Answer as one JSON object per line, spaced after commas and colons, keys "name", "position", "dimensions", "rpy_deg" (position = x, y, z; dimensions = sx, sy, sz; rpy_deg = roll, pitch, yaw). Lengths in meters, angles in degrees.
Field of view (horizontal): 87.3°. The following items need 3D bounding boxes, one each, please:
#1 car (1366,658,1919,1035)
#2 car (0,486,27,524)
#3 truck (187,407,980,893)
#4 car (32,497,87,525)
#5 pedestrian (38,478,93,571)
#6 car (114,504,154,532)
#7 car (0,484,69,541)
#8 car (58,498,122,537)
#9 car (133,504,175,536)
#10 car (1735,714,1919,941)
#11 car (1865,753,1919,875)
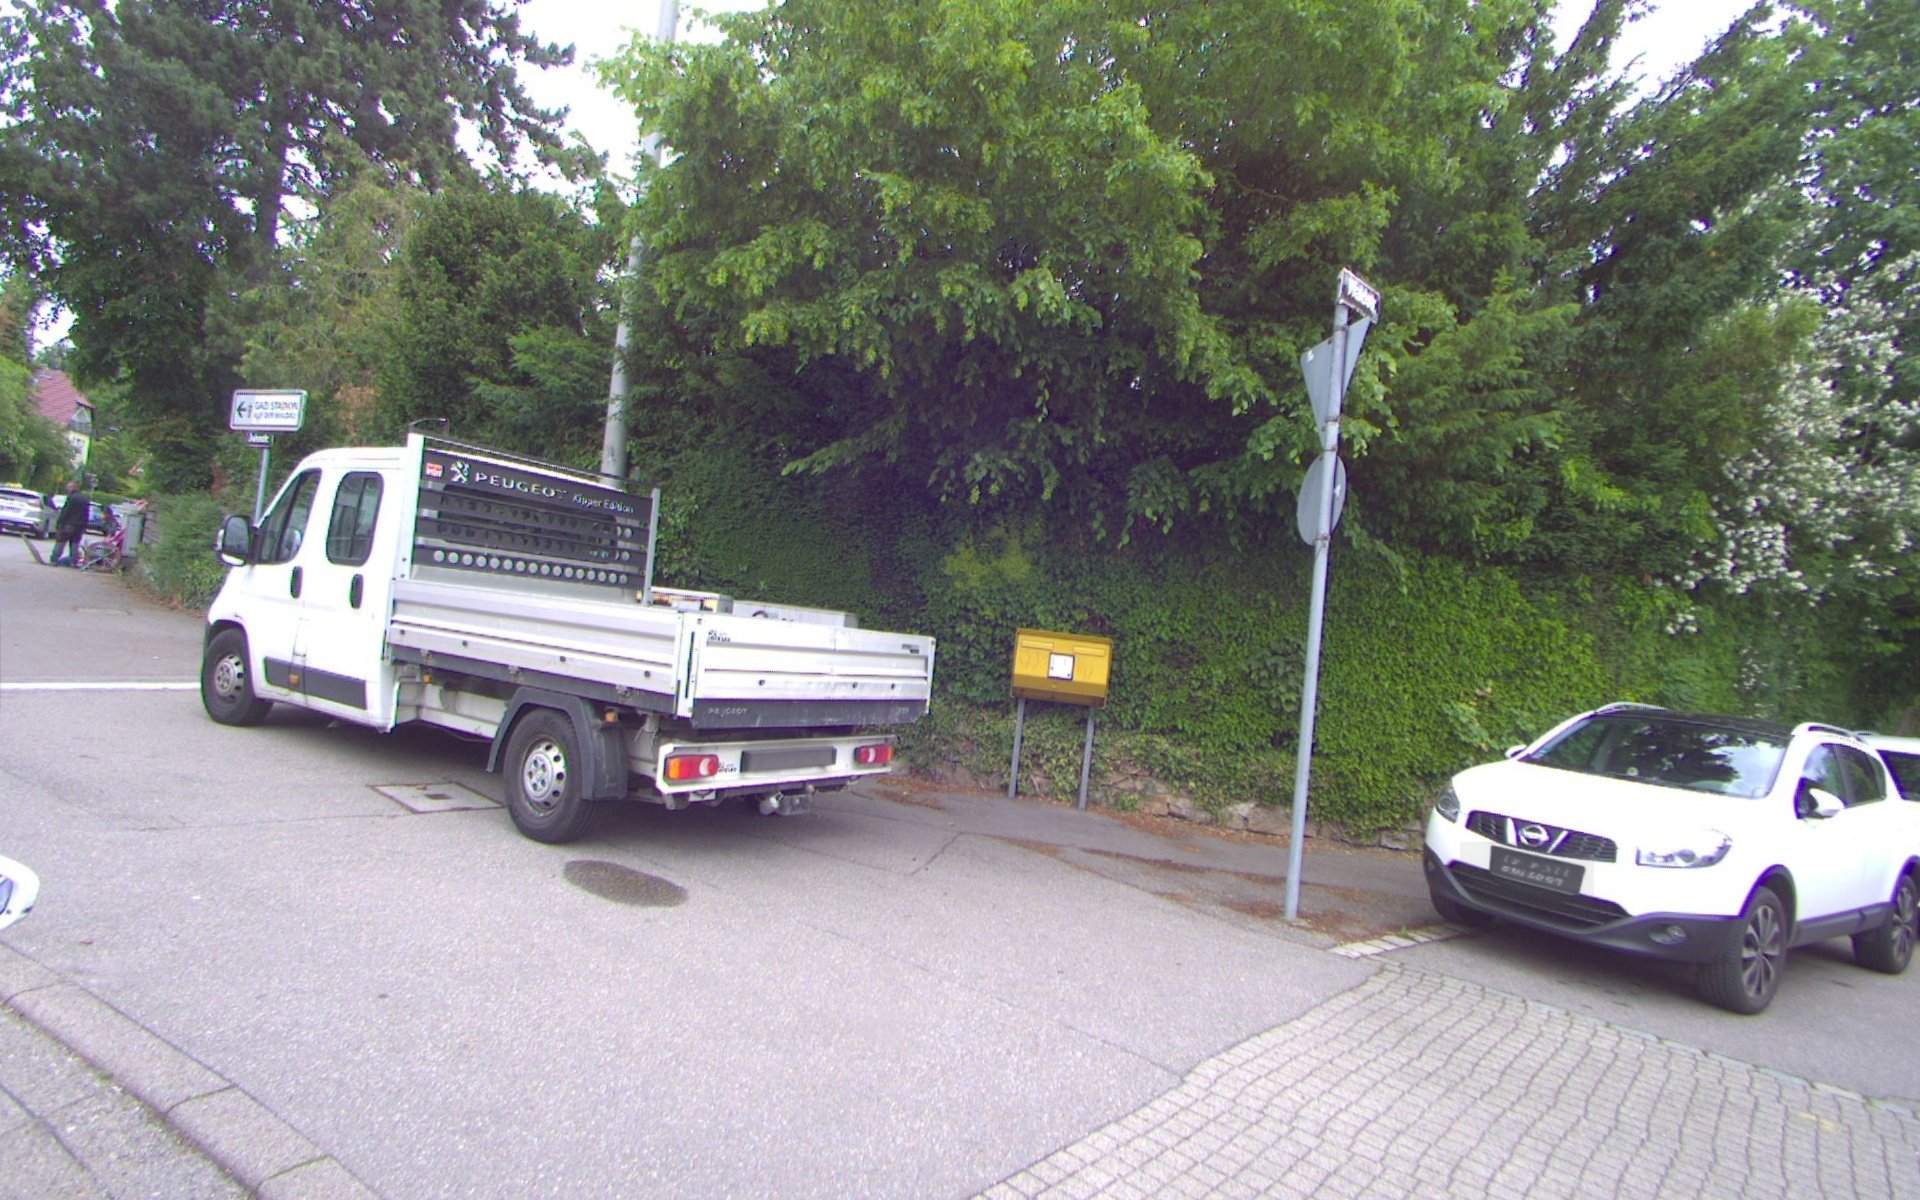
{"name": "car", "position": [4.772, 1.471, 6.654], "dimensions": [4.098, 1.641, 1.783], "rpy_deg": [9, -2, -34]}
{"name": "car", "position": [-53.161, -5.287, 55.380], "dimensions": [1.901, 1.903, 5.092], "rpy_deg": [6, -1, -36]}
{"name": "truck", "position": [-2.929, 0.086, 7.159], "dimensions": [5.631, 2.270, 2.211], "rpy_deg": [6, -2, 34]}
{"name": "car", "position": [-57.686, -5.692, 64.539], "dimensions": [1.928, 1.420, 4.697], "rpy_deg": [9, -1, -35]}
{"name": "pedestrian", "position": [-19.627, -1.654, 22.072], "dimensions": [0.549, 1.929, 0.597], "rpy_deg": [7, -1, 32]}
{"name": "car", "position": [-50.632, -5.028, 61.713], "dimensions": [1.685, 1.448, 3.709], "rpy_deg": [7, 0, -38]}
{"name": "car", "position": [-33.610, -3.159, 36.091], "dimensions": [1.796, 1.775, 4.445], "rpy_deg": [7, 0, -34]}
{"name": "car", "position": [-42.069, -3.959, 48.717], "dimensions": [1.790, 1.545, 4.697], "rpy_deg": [7, 0, -36]}
{"name": "car", "position": [-58.627, -5.795, 73.236], "dimensions": [1.910, 1.915, 4.859], "rpy_deg": [10, -2, -36]}
{"name": "car", "position": [9.051, 2.117, 9.466], "dimensions": [4.041, 1.641, 1.781], "rpy_deg": [9, -3, -38]}
{"name": "car", "position": [13.804, 2.957, 13.484], "dimensions": [4.040, 1.440, 1.781], "rpy_deg": [8, -2, -38]}
